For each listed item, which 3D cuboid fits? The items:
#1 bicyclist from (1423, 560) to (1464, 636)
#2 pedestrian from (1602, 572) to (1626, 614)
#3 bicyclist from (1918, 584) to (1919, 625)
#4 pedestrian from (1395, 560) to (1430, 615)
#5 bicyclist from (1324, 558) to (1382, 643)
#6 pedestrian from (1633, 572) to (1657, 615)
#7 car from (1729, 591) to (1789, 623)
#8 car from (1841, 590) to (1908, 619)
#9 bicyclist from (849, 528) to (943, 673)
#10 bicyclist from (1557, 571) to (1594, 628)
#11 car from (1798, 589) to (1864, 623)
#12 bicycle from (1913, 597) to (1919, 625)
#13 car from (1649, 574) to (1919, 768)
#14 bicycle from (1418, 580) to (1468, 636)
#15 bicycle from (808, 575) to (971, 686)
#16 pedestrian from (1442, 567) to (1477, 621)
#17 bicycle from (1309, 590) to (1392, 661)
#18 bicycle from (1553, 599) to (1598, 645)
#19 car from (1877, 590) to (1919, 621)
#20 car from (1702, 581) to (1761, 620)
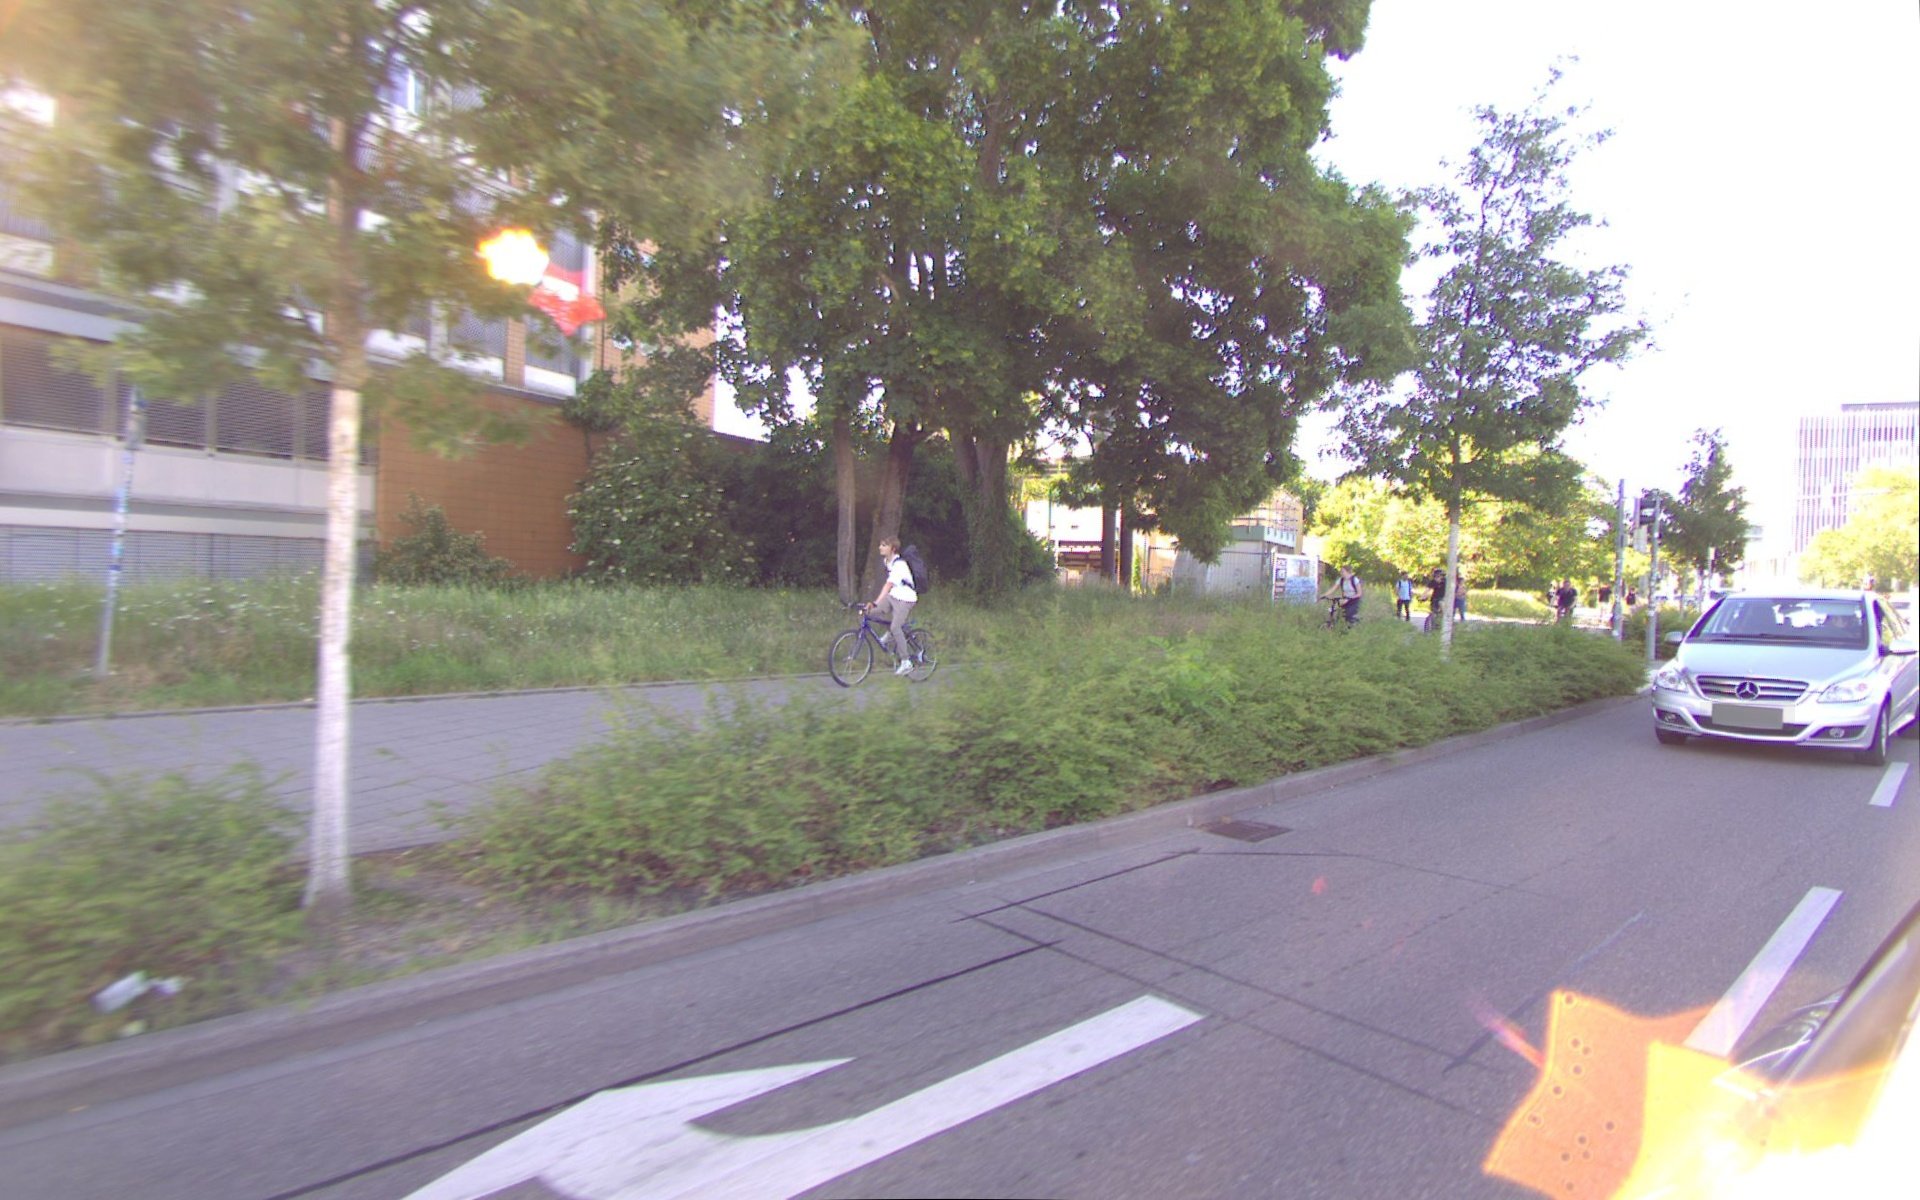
[{"bbox_3d":[10.844,-0.046,22.688,0.640,1.666,0.766,2,1,37],"label":"bicyclist"},{"bbox_3d":[29.323,-0.314,45.379,0.729,1.804,0.724,1,-1,44],"label":"pedestrian"},{"bbox_3d":[40.786,0.223,42.349,0.740,1.705,0.968,2,2,29],"label":"bicyclist"},{"bbox_3d":[14.135,-0.388,31.645,0.664,1.664,0.737,3,-1,-7],"label":"pedestrian"},{"bbox_3d":[7.020,-0.005,18.074,0.642,1.462,0.764,5,3,45],"label":"bicyclist"},{"bbox_3d":[30.150,-0.298,44.522,0.729,1.839,0.724,1,-1,44],"label":"pedestrian"},{"bbox_3d":[38.024,0.292,48.264,1.691,1.460,3.957,1,0,30],"label":"car"},{"bbox_3d":[53.194,0.229,58.957,1.967,1.574,4.673,1,0,30],"label":"car"},{"bbox_3d":[-0.751,-0.007,11.952,0.630,1.614,0.819,6,4,45],"label":"bicyclist"},{"bbox_3d":[16.286,-0.022,26.774,0.641,1.462,0.938,1,0,44],"label":"bicyclist"},{"bbox_3d":[41.845,0.249,48.708,1.987,1.487,3.950,2,2,35],"label":"car"},{"bbox_3d":[40.825,0.498,42.443,0.742,1.179,1.852,2,3,29],"label":"bicycle"},{"bbox_3d":[9.045,0.558,10.682,4.557,1.613,1.770,-1,2,-40],"label":"car"},{"bbox_3d":[10.840,0.169,22.689,0.639,1.179,1.845,2,1,37],"label":"bicycle"},{"bbox_3d":[-0.800,0.323,11.943,0.641,1.179,1.925,6,4,44],"label":"bicycle"},{"bbox_3d":[15.940,-0.192,32.292,0.664,1.664,0.736,2,-1,-2],"label":"pedestrian"},{"bbox_3d":[6.996,0.428,18.087,0.641,1.179,1.840,5,3,45],"label":"bicycle"},{"bbox_3d":[16.310,0.561,26.811,0.641,1.180,1.841,0,0,44],"label":"bicycle"},{"bbox_3d":[49.475,0.271,52.433,1.967,1.574,4.673,1,0,30],"label":"car"},{"bbox_3d":[41.207,0.011,54.123,1.923,1.977,4.706,1,0,30],"label":"car"}]
